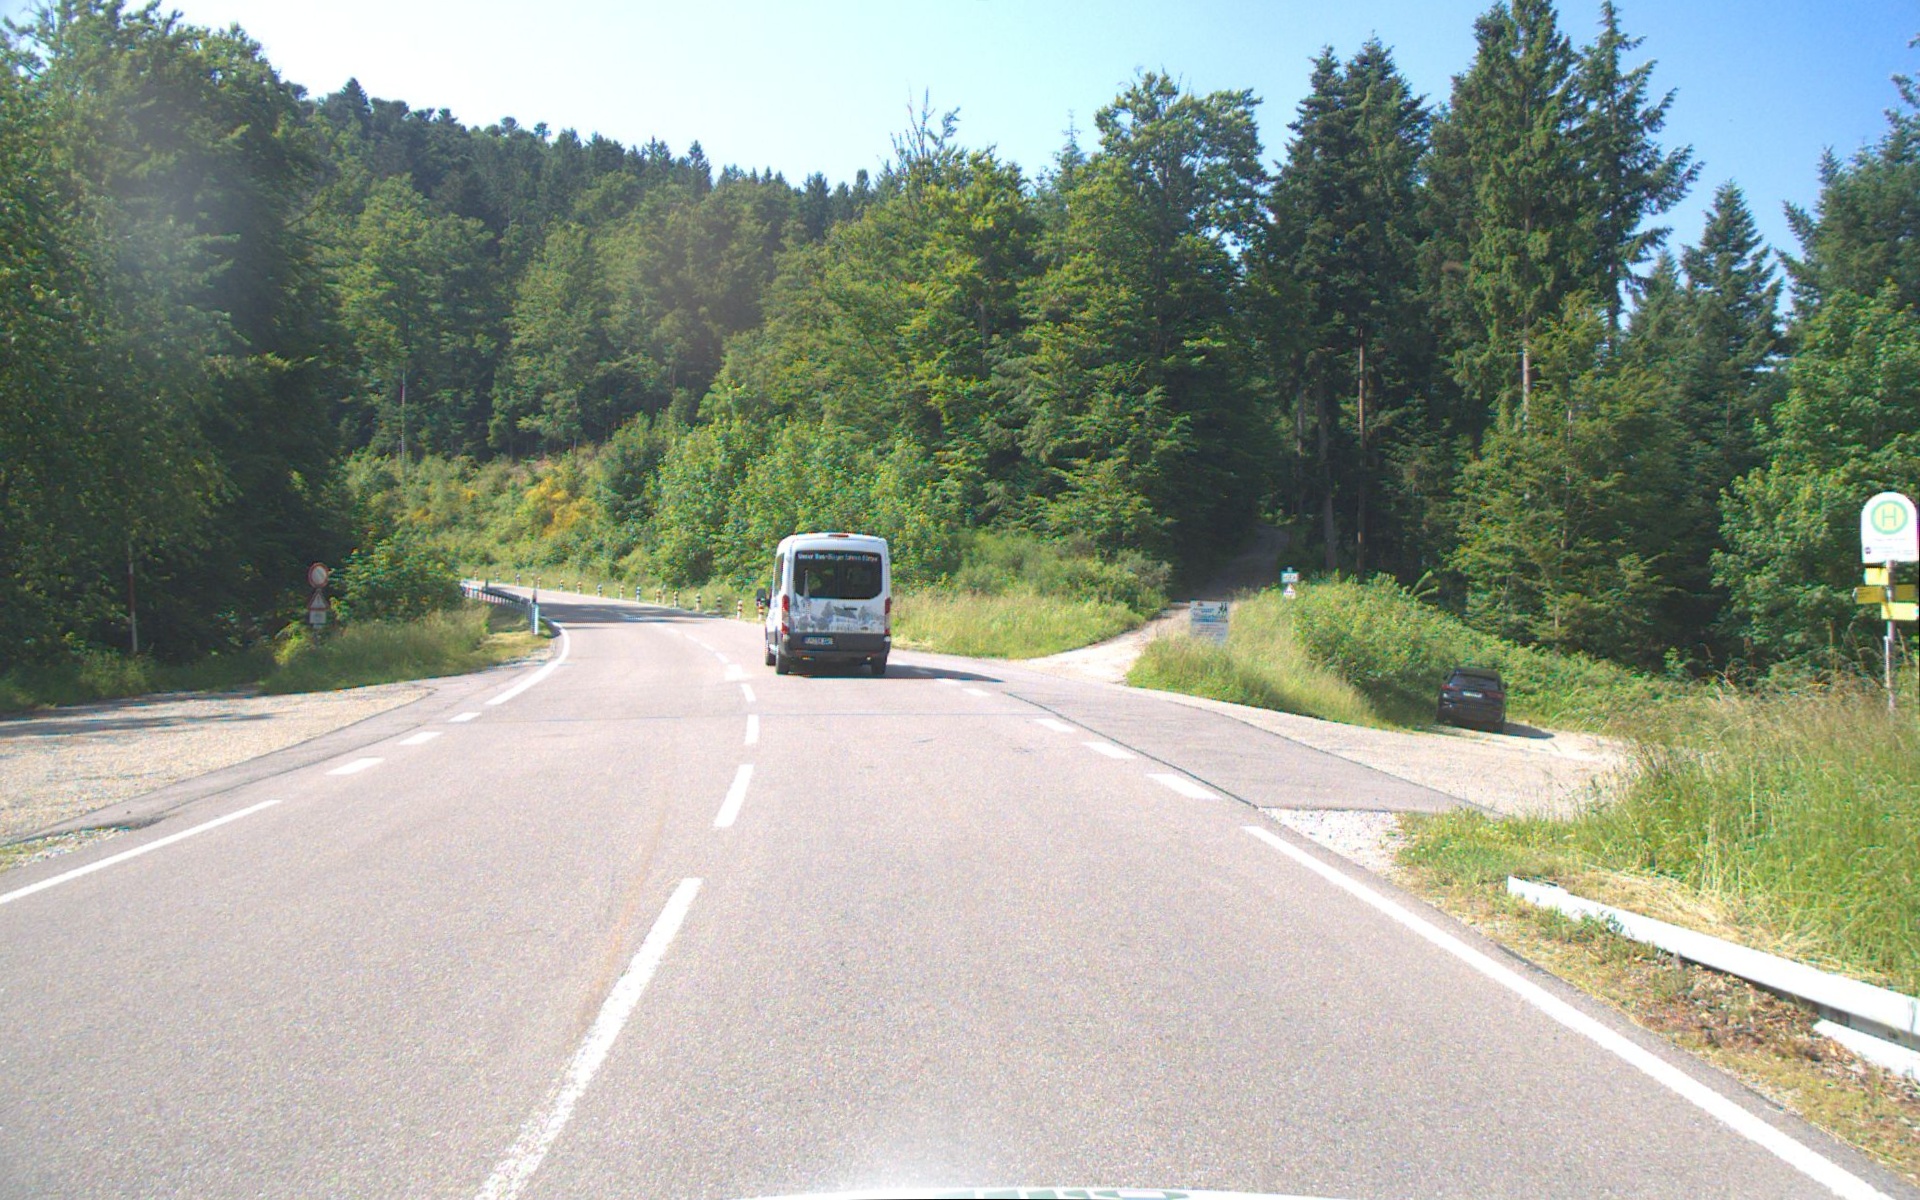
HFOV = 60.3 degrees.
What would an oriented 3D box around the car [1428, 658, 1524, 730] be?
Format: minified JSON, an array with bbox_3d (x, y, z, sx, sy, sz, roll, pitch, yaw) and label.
[{"bbox_3d":[14.453,2.574,46.184,1.896,1.620,3.997,7,2,25],"label":"car"}]

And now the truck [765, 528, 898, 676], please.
[{"bbox_3d":[-2.515,0.021,31.119,2.076,2.542,5.348,0,0,-9],"label":"truck"}]
